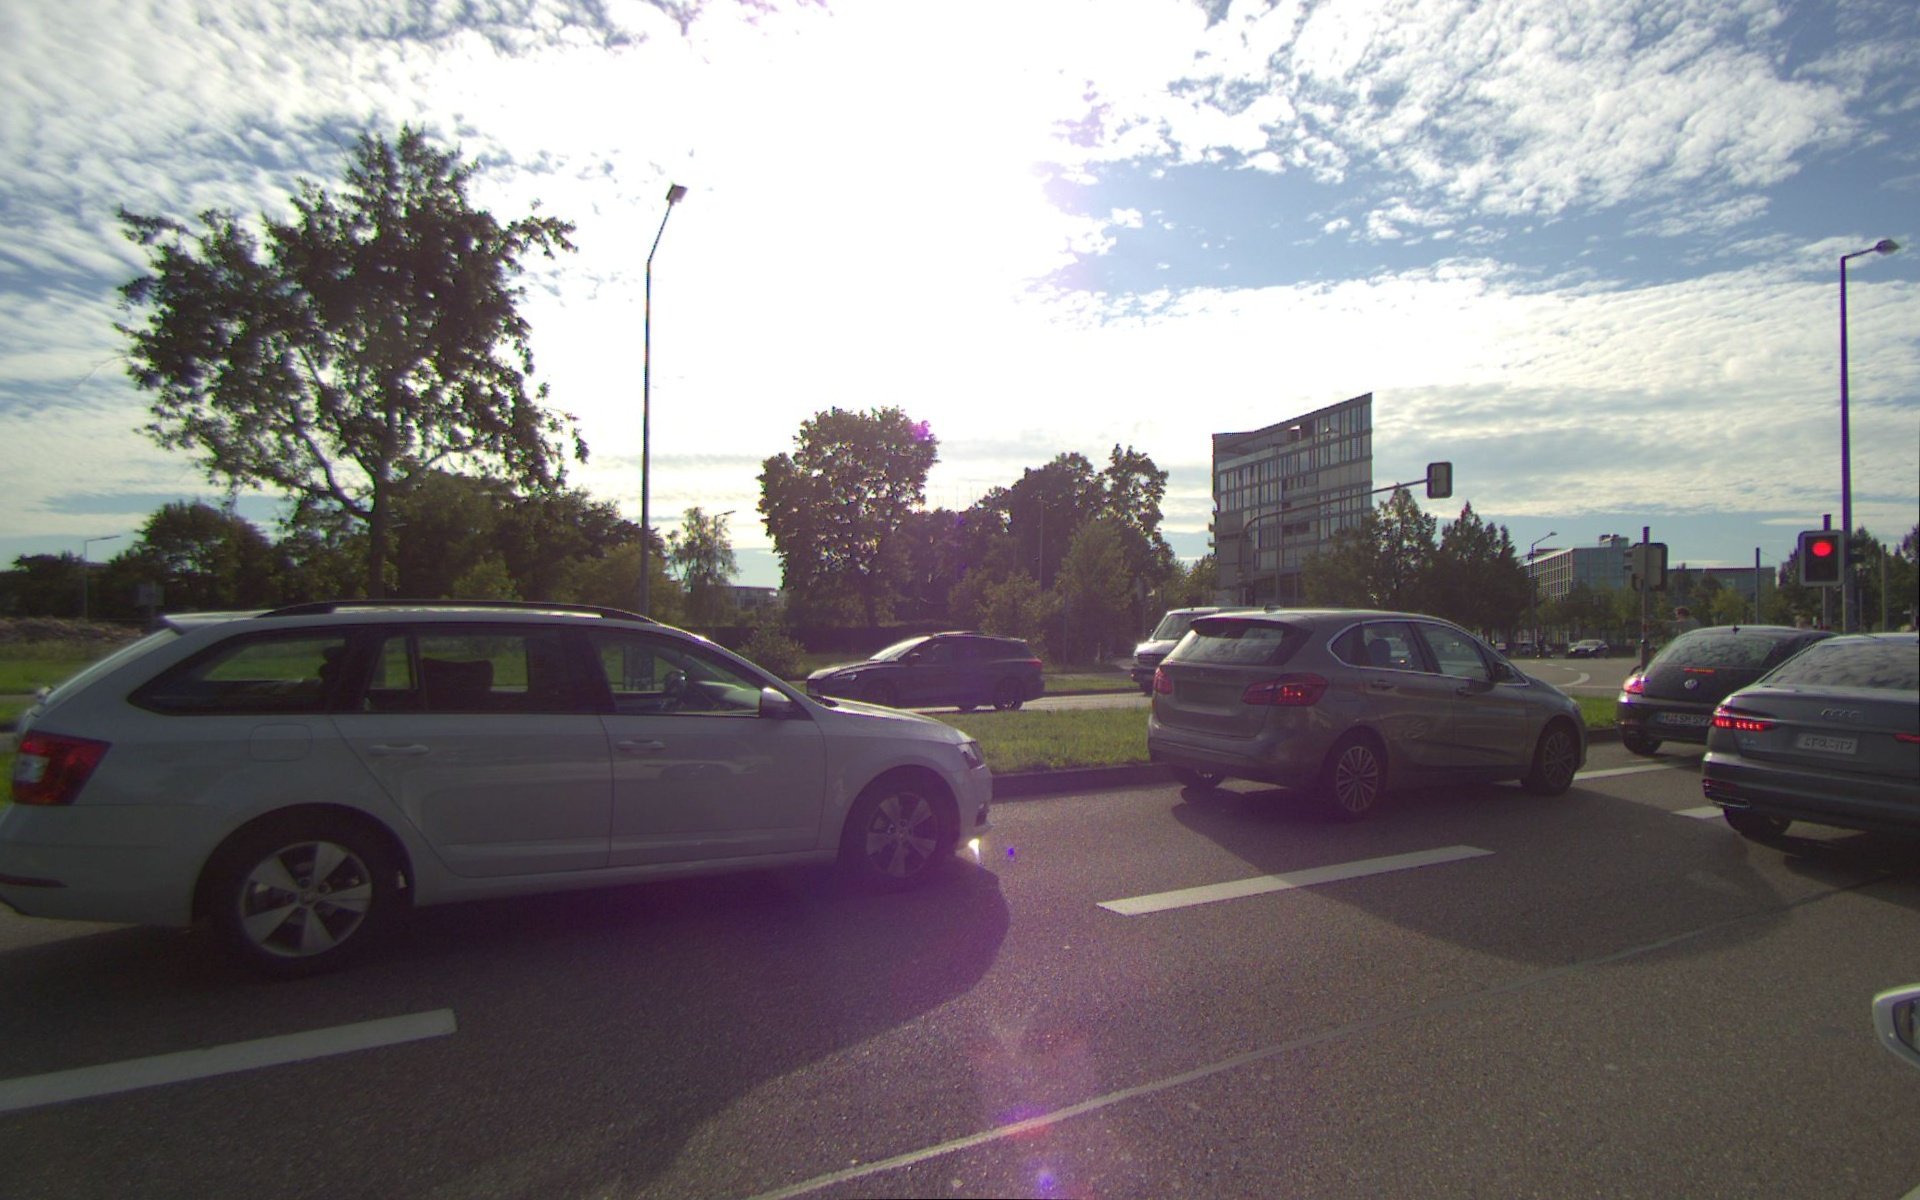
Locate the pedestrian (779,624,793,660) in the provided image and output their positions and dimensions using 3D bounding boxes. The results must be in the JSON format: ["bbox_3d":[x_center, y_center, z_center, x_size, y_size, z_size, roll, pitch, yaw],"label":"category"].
[{"bbox_3d":[-10.052,2.413,58.039,0.675,2.040,0.641,0,-2,-5],"label":"pedestrian"}]

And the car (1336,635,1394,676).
[{"bbox_3d":[15.238,2.059,37.698,1.878,1.452,4.226,0,-2,24],"label":"car"}]

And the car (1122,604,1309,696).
[{"bbox_3d":[7.107,1.374,27.544,5.878,2.264,1.977,2,-4,-41],"label":"car"}]

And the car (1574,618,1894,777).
[{"bbox_3d":[8.989,1.019,11.620,3.766,1.543,1.672,2,-1,-31],"label":"car"}]

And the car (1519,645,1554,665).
[{"bbox_3d":[49.006,4.675,85.423,1.767,1.595,3.978,-2,-3,42],"label":"car"}]

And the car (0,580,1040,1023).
[{"bbox_3d":[-1.881,0.760,5.261,4.429,1.518,1.690,2,-1,-31],"label":"car"}]

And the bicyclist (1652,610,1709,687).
[{"bbox_3d":[14.757,0.987,20.573,0.840,1.546,0.736,-2,-3,44],"label":"bicyclist"}]

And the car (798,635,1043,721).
[{"bbox_3d":[-0.710,1.412,18.596,4.158,1.428,1.892,2,-4,-31],"label":"car"}]

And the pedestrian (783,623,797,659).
[{"bbox_3d":[-9.958,2.403,58.864,0.723,2.040,0.739,0,-2,-6],"label":"pedestrian"}]

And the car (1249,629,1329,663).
[{"bbox_3d":[18.095,2.491,55.225,3.927,1.793,1.709,-1,-2,28],"label":"car"}]

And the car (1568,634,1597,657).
[{"bbox_3d":[44.864,3.254,72.398,1.682,1.594,3.990,-1,-2,33],"label":"car"}]

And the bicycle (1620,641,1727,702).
[{"bbox_3d":[14.656,1.453,20.661,1.707,1.179,0.652,-1,-3,45],"label":"bicycle"}]

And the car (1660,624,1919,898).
[{"bbox_3d":[7.139,0.977,7.104,4.559,1.502,1.881,2,-1,-31],"label":"car"}]

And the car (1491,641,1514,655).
[{"bbox_3d":[68.384,5.994,126.640,1.678,1.713,4.002,0,-2,16],"label":"car"}]

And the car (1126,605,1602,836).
[{"bbox_3d":[3.525,0.878,8.622,3.971,1.579,1.721,2,-1,-30],"label":"car"}]
